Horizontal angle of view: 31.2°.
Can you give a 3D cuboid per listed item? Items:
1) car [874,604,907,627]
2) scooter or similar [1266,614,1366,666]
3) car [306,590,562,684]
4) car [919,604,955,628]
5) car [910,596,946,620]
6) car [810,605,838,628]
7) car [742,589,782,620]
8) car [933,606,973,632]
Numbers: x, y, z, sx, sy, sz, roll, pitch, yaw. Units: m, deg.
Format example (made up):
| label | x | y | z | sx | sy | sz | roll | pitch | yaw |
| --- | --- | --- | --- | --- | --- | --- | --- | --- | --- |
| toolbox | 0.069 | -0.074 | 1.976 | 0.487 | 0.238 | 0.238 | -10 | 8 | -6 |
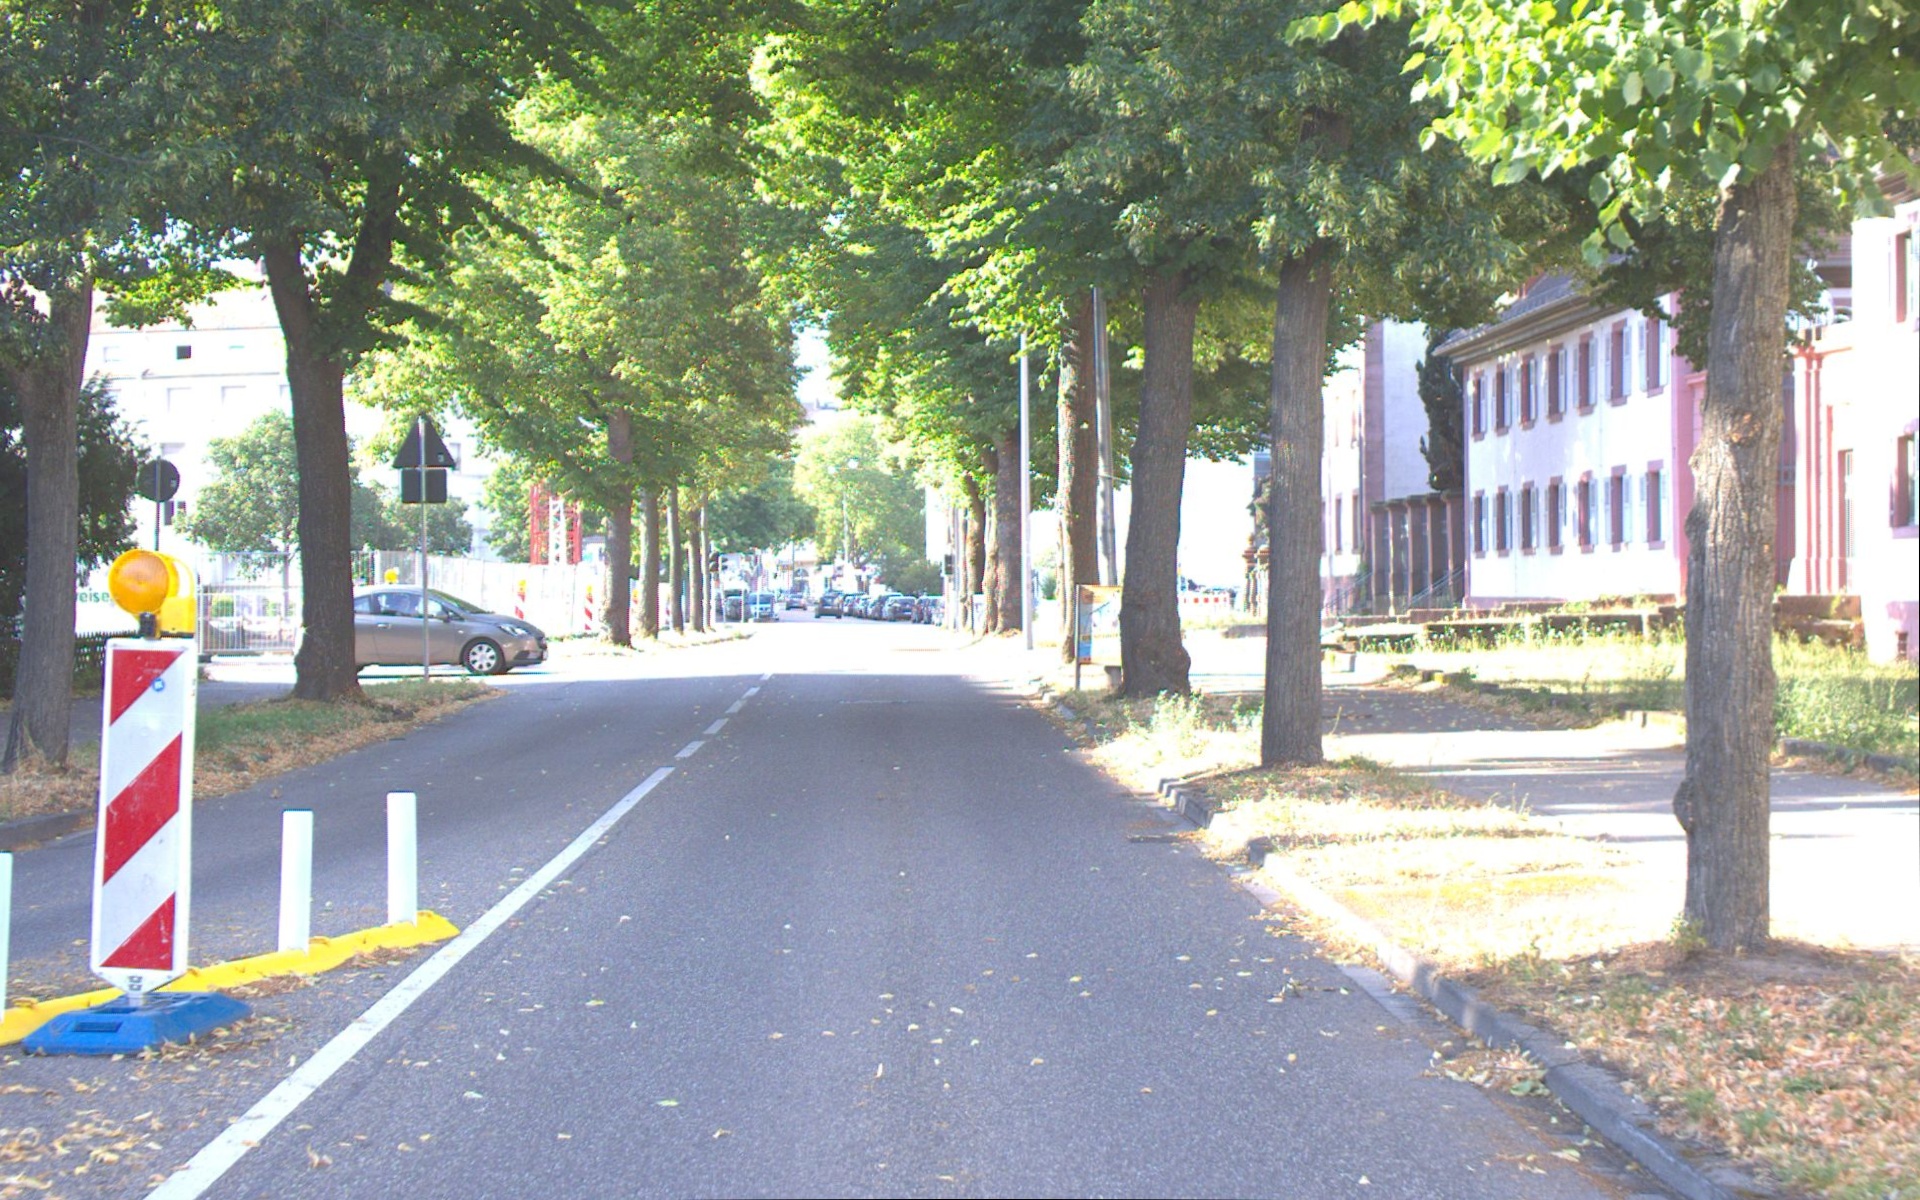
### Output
| label | x | y | z | sx | sy | sz | roll | pitch | yaw |
| --- | --- | --- | --- | --- | --- | --- | --- | --- | --- |
| car | -4.435 | 0.991 | 219.915 | 1.841 | 1.381 | 4.000 | -1 | 0 | -5 |
| scooter or similar | 5.117 | 0.575 | 49.497 | 1.225 | 0.547 | 1.064 | -9 | 1 | -1 |
| car | -8.439 | 0.586 | 55.377 | 3.844 | 1.468 | 1.651 | 0 | 0 | 1 |
| car | -1.217 | 0.850 | 183.670 | 1.841 | 1.257 | 4.000 | 0 | 0 | 0 |
| car | -1.784 | 0.467 | 190.804 | 1.841 | 1.257 | 4.000 | -1 | 0 | -2 |
| car | -9.453 | 1.149 | 239.311 | 1.714 | 1.481 | 4.000 | -1 | -1 | -5 |
| car | -11.277 | 0.250 | 195.875 | 1.993 | 1.682 | 4.001 | -1 | -1 | -7 |
| car | -0.362 | 0.974 | 172.973 | 1.841 | 1.257 | 4.000 | -1 | 0 | -2 |
